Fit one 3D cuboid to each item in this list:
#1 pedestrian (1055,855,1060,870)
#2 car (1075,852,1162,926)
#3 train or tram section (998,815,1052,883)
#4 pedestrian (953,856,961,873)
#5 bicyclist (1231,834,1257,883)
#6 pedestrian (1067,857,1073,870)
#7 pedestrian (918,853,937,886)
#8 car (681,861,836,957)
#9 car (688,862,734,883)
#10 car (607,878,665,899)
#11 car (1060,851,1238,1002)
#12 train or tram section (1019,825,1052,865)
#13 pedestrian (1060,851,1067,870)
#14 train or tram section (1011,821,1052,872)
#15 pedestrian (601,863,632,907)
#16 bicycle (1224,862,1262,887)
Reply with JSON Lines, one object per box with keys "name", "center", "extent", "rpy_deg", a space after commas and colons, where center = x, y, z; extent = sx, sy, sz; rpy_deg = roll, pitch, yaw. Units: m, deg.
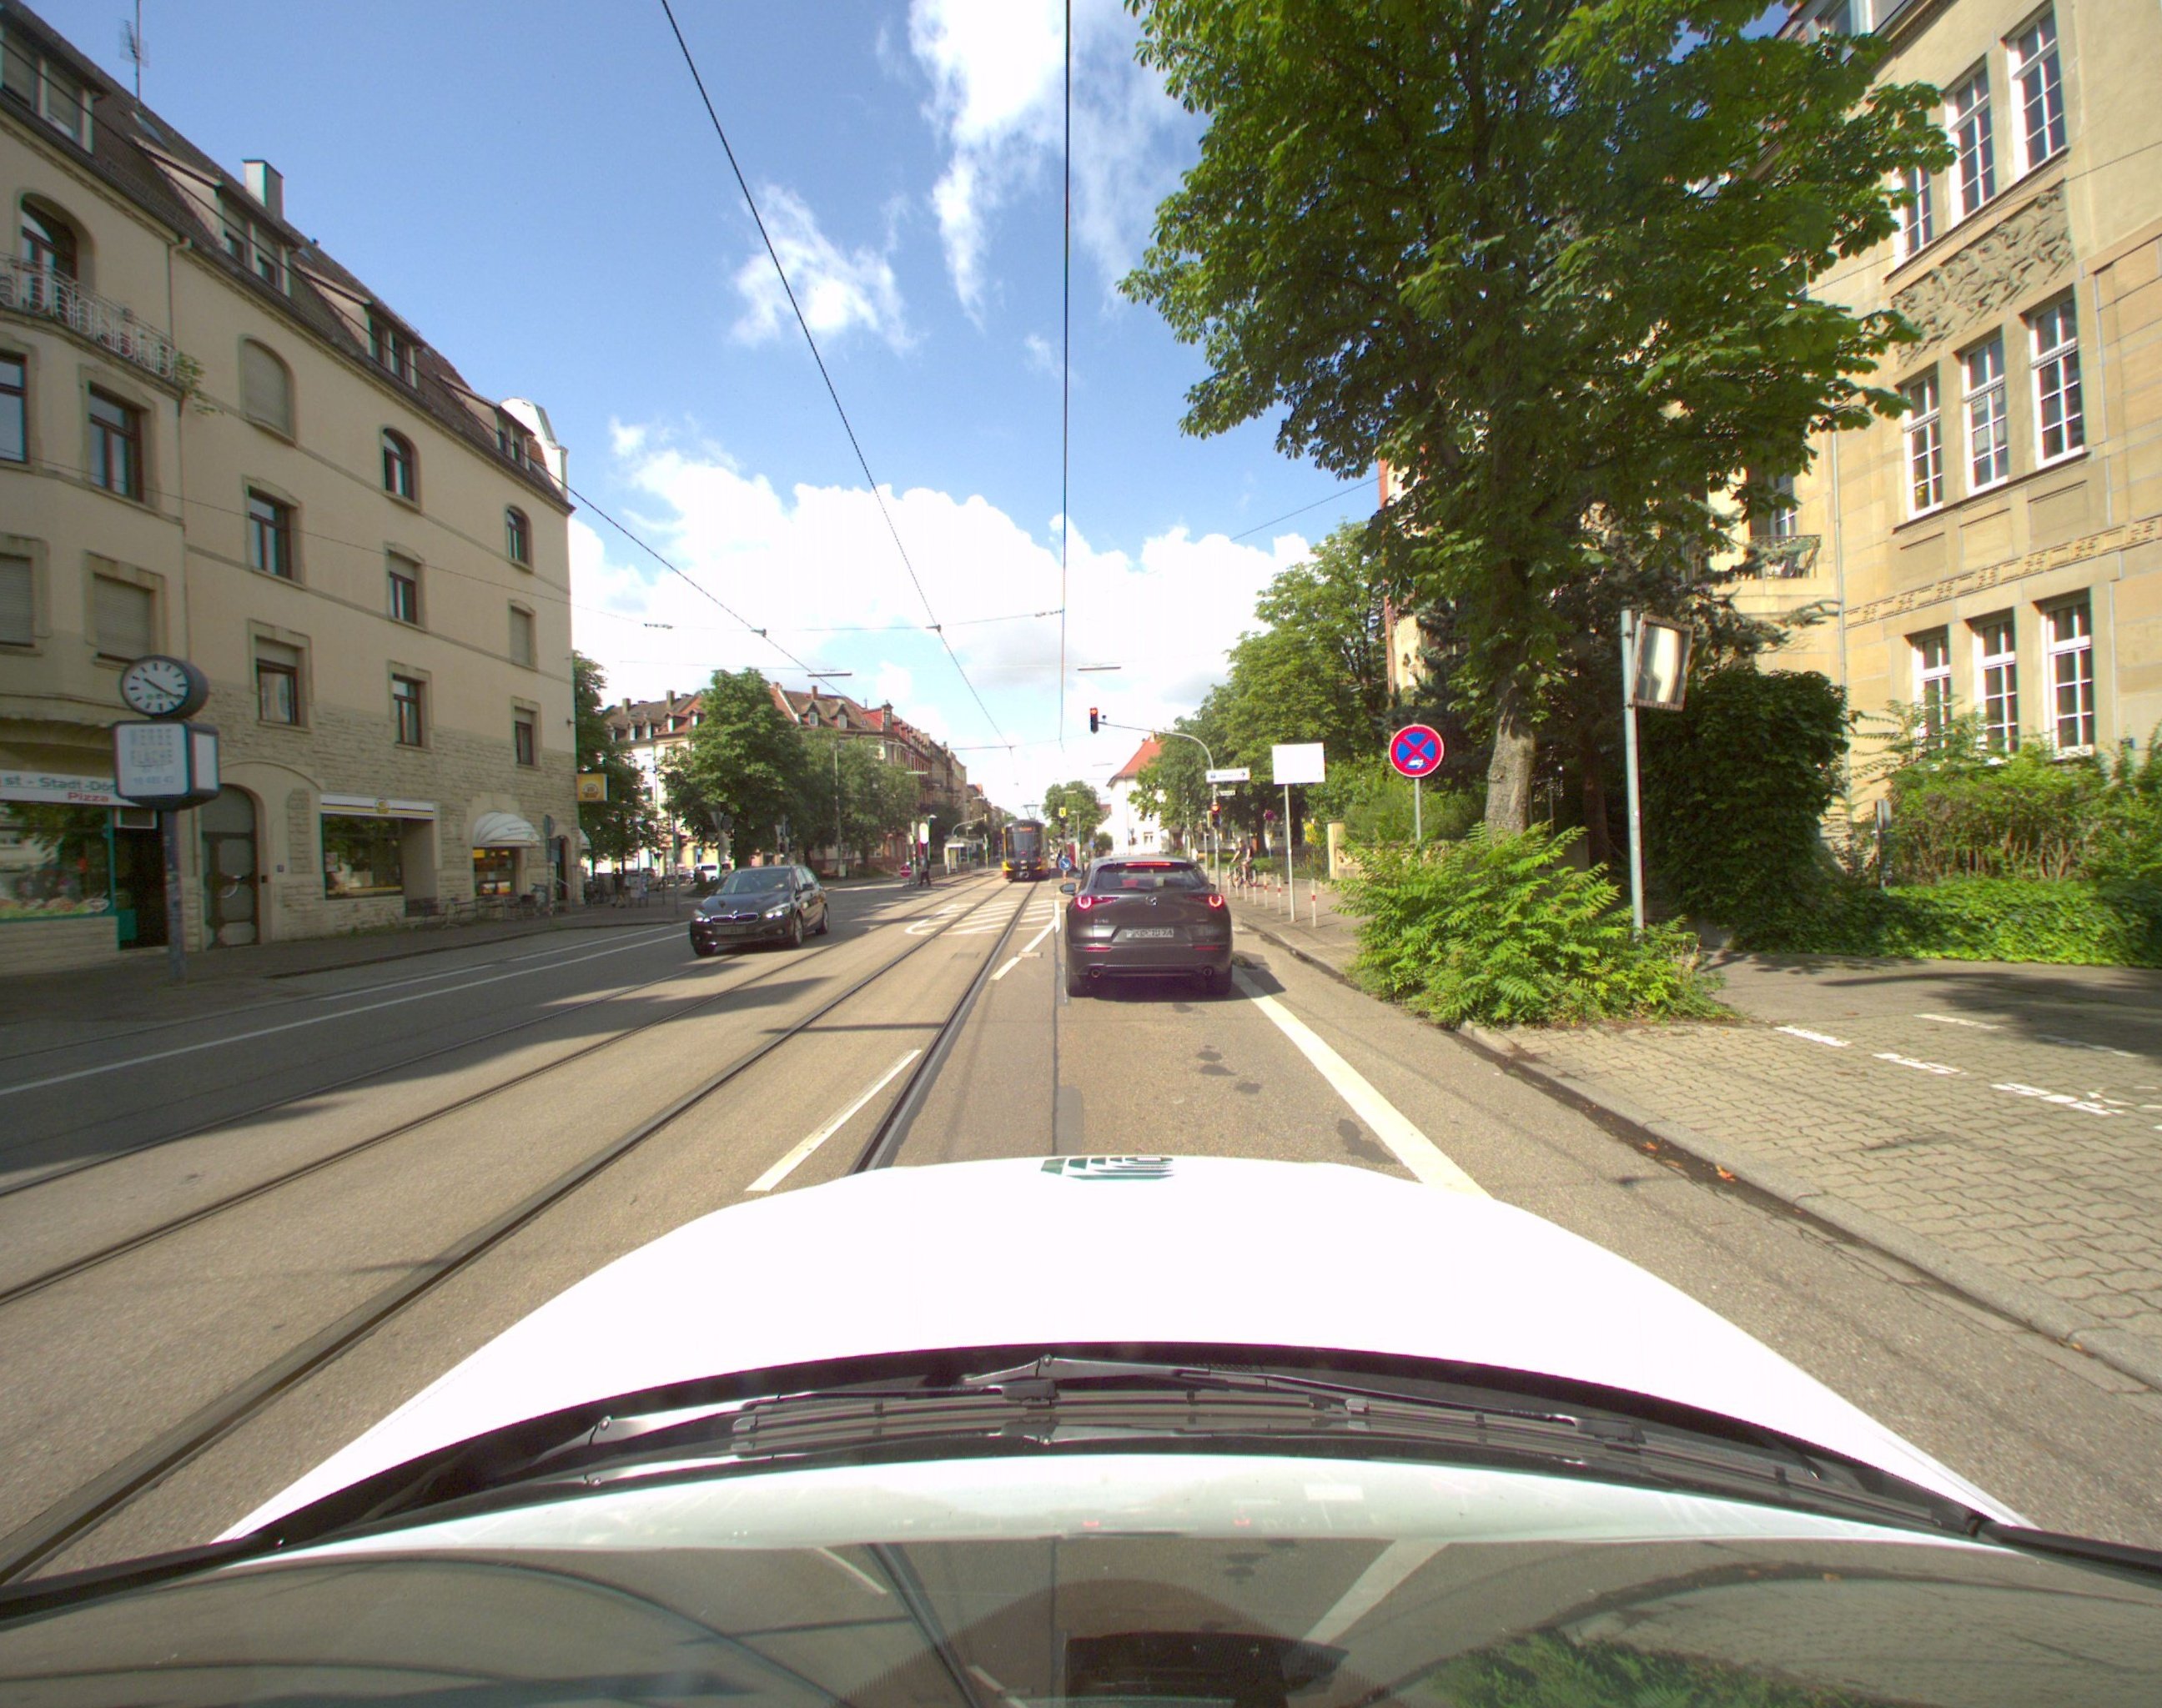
{"name": "pedestrian", "center": [-1.790, 0.650, 62.538], "extent": [0.379, 1.071, 0.474], "rpy_deg": [-2, 0, -2]}
{"name": "car", "center": [0.828, 0.719, 18.765], "extent": [1.772, 1.499, 4.001], "rpy_deg": [0, 0, 1]}
{"name": "train or tram section", "center": [-3.284, -0.395, 50.814], "extent": [2.746, 3.490, 14.396], "rpy_deg": [-2, 1, -2]}
{"name": "pedestrian", "center": [-9.860, 0.836, 64.864], "extent": [0.424, 1.399, 0.401], "rpy_deg": [-2, 0, 32]}
{"name": "bicyclist", "center": [6.077, 0.177, 30.299], "extent": [0.613, 1.793, 0.650], "rpy_deg": [-2, 0, -45]}
{"name": "pedestrian", "center": [-0.835, 0.762, 63.307], "extent": [0.379, 0.984, 0.474], "rpy_deg": [-2, 0, -3]}
{"name": "pedestrian", "center": [-8.095, 0.824, 42.978], "extent": [0.713, 1.705, 0.825], "rpy_deg": [-2, 0, 4]}
{"name": "car", "center": [-6.067, 0.942, 15.830], "extent": [1.754, 1.518, 4.058], "rpy_deg": [-2, 0, -7]}
{"name": "car", "center": [-36.701, 1.870, 80.757], "extent": [3.950, 1.903, 2.012], "rpy_deg": [-2, 0, 26]}
{"name": "car", "center": [-31.235, 2.406, 57.336], "extent": [1.666, 1.182, 4.003], "rpy_deg": [-2, 0, 3]}
{"name": "car", "center": [0.728, 0.720, 10.155], "extent": [1.772, 1.499, 4.001], "rpy_deg": [0, 0, 1]}
{"name": "train or tram section", "center": [-4.331, -0.904, 79.571], "extent": [2.746, 3.490, 14.396], "rpy_deg": [-2, 1, -2]}
{"name": "pedestrian", "center": [-1.353, 0.531, 62.744], "extent": [0.449, 1.434, 0.474], "rpy_deg": [-2, 0, -3]}
{"name": "train or tram section", "center": [-3.807, -0.649, 65.187], "extent": [2.746, 3.490, 14.396], "rpy_deg": [-2, 1, -2]}
{"name": "pedestrian", "center": [-18.686, 1.240, 32.781], "extent": [0.746, 1.684, 0.702], "rpy_deg": [-2, 0, 11]}
{"name": "bicycle", "center": [6.021, 0.746, 30.217], "extent": [1.709, 0.824, 0.488], "rpy_deg": [-2, 0, -45]}
